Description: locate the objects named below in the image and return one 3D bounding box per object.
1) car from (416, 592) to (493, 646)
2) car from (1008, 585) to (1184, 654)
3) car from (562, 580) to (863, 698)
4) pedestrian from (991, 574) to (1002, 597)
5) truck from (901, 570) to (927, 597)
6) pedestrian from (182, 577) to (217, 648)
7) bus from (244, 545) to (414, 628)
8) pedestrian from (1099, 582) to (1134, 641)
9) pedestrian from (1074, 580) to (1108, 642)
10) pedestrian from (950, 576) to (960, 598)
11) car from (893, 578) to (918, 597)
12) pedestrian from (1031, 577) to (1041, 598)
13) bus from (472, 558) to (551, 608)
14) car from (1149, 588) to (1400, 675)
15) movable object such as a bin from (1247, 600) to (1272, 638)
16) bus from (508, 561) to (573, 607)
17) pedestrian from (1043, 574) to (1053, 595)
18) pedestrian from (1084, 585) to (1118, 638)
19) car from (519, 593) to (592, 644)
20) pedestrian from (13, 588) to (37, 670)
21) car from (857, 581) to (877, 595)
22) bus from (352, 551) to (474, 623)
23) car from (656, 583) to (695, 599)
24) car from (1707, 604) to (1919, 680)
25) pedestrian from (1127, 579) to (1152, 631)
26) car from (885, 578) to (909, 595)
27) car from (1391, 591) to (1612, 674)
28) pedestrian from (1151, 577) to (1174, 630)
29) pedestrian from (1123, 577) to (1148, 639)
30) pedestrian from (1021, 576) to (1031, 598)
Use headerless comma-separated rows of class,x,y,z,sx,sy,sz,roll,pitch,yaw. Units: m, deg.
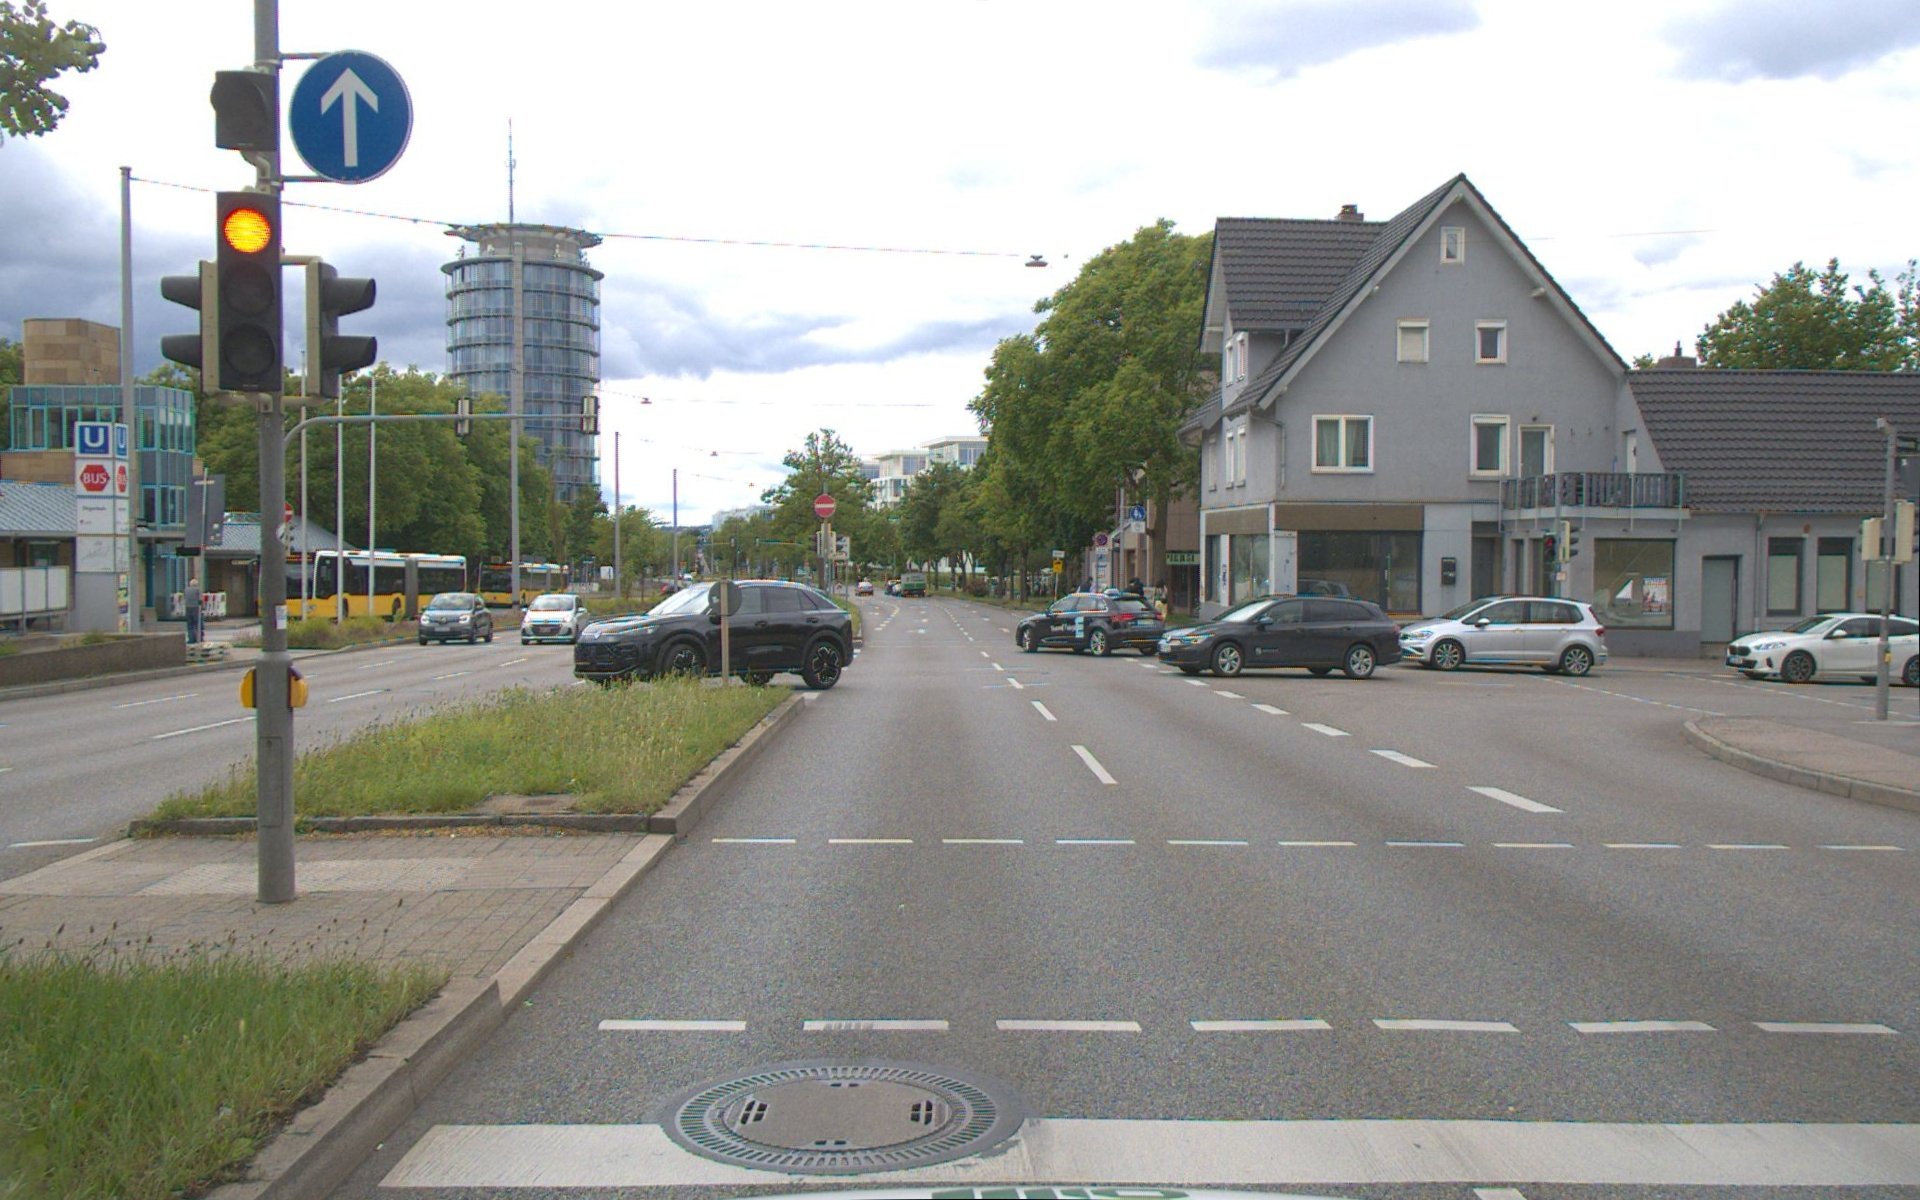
car,-15.478,0.561,50.805,1.652,1.606,3.344,0,0,-6
car,3.134,0.442,38.871,1.877,1.521,4.041,-1,0,-39
car,-3.501,0.487,23.832,1.811,1.547,4.042,0,1,45
pedestrian,3.335,-1.290,151.140,0.951,2.049,0.981,1,-1,-2
truck,-4.360,-1.537,156.442,2.207,2.459,4.927,0,0,-5
pedestrian,-20.999,0.340,45.656,0.647,1.930,0.685,0,0,-1
bus,-27.088,-0.565,71.684,2.927,3.307,10.174,-1,0,3
pedestrian,4.916,0.355,51.928,0.860,1.811,0.699,0,0,-35
pedestrian,3.933,0.326,49.652,0.851,1.811,0.706,0,0,-10
pedestrian,-0.586,-1.427,180.740,0.914,2.349,1.008,1,-1,-10
car,-5.412,-1.245,164.994,2.207,1.787,4.927,0,0,-5
pedestrian,5.753,-0.919,124.994,0.638,1.597,0.669,0,0,-9
bus,-30.792,-1.122,114.002,3.082,3.281,10.279,0,0,-3
car,5.755,0.566,30.352,4.204,1.506,1.708,1,1,-16
movable object such as a bin,7.993,0.495,44.154,0.518,0.997,0.736,0,0,-1
bus,-31.155,-1.137,123.001,3.081,3.281,7.762,0,0,-2
pedestrian,6.634,-1.165,125.075,0.638,1.597,0.669,0,0,-9
pedestrian,4.164,0.328,48.837,0.851,1.533,0.706,0,0,-10
car,-12.369,0.547,50.717,1.651,1.488,3.552,0,0,-5
pedestrian,-18.529,0.575,32.781,0.414,1.619,0.353,0,0,-30
car,-9.731,-1.262,173.015,1.929,1.444,4.017,0,0,-6
bus,-26.551,-0.617,80.708,2.927,3.327,7.879,-1,0,3
car,-28.224,-0.879,164.063,3.476,1.518,1.708,-1,0,3
car,18.461,0.881,35.292,4.159,1.503,1.998,1,0,-5
pedestrian,5.847,0.161,53.848,0.690,1.691,0.871,-1,0,13
car,-6.613,-1.392,173.772,2.207,1.676,4.927,0,0,-6
car,11.302,0.657,34.712,4.016,1.567,1.829,2,0,0
pedestrian,6.573,0.121,53.621,0.690,1.691,0.871,0,0,11
pedestrian,5.105,0.228,47.989,0.690,1.791,1.053,0,0,8
pedestrian,4.962,-0.990,125.026,0.638,1.597,0.669,0,0,-9
